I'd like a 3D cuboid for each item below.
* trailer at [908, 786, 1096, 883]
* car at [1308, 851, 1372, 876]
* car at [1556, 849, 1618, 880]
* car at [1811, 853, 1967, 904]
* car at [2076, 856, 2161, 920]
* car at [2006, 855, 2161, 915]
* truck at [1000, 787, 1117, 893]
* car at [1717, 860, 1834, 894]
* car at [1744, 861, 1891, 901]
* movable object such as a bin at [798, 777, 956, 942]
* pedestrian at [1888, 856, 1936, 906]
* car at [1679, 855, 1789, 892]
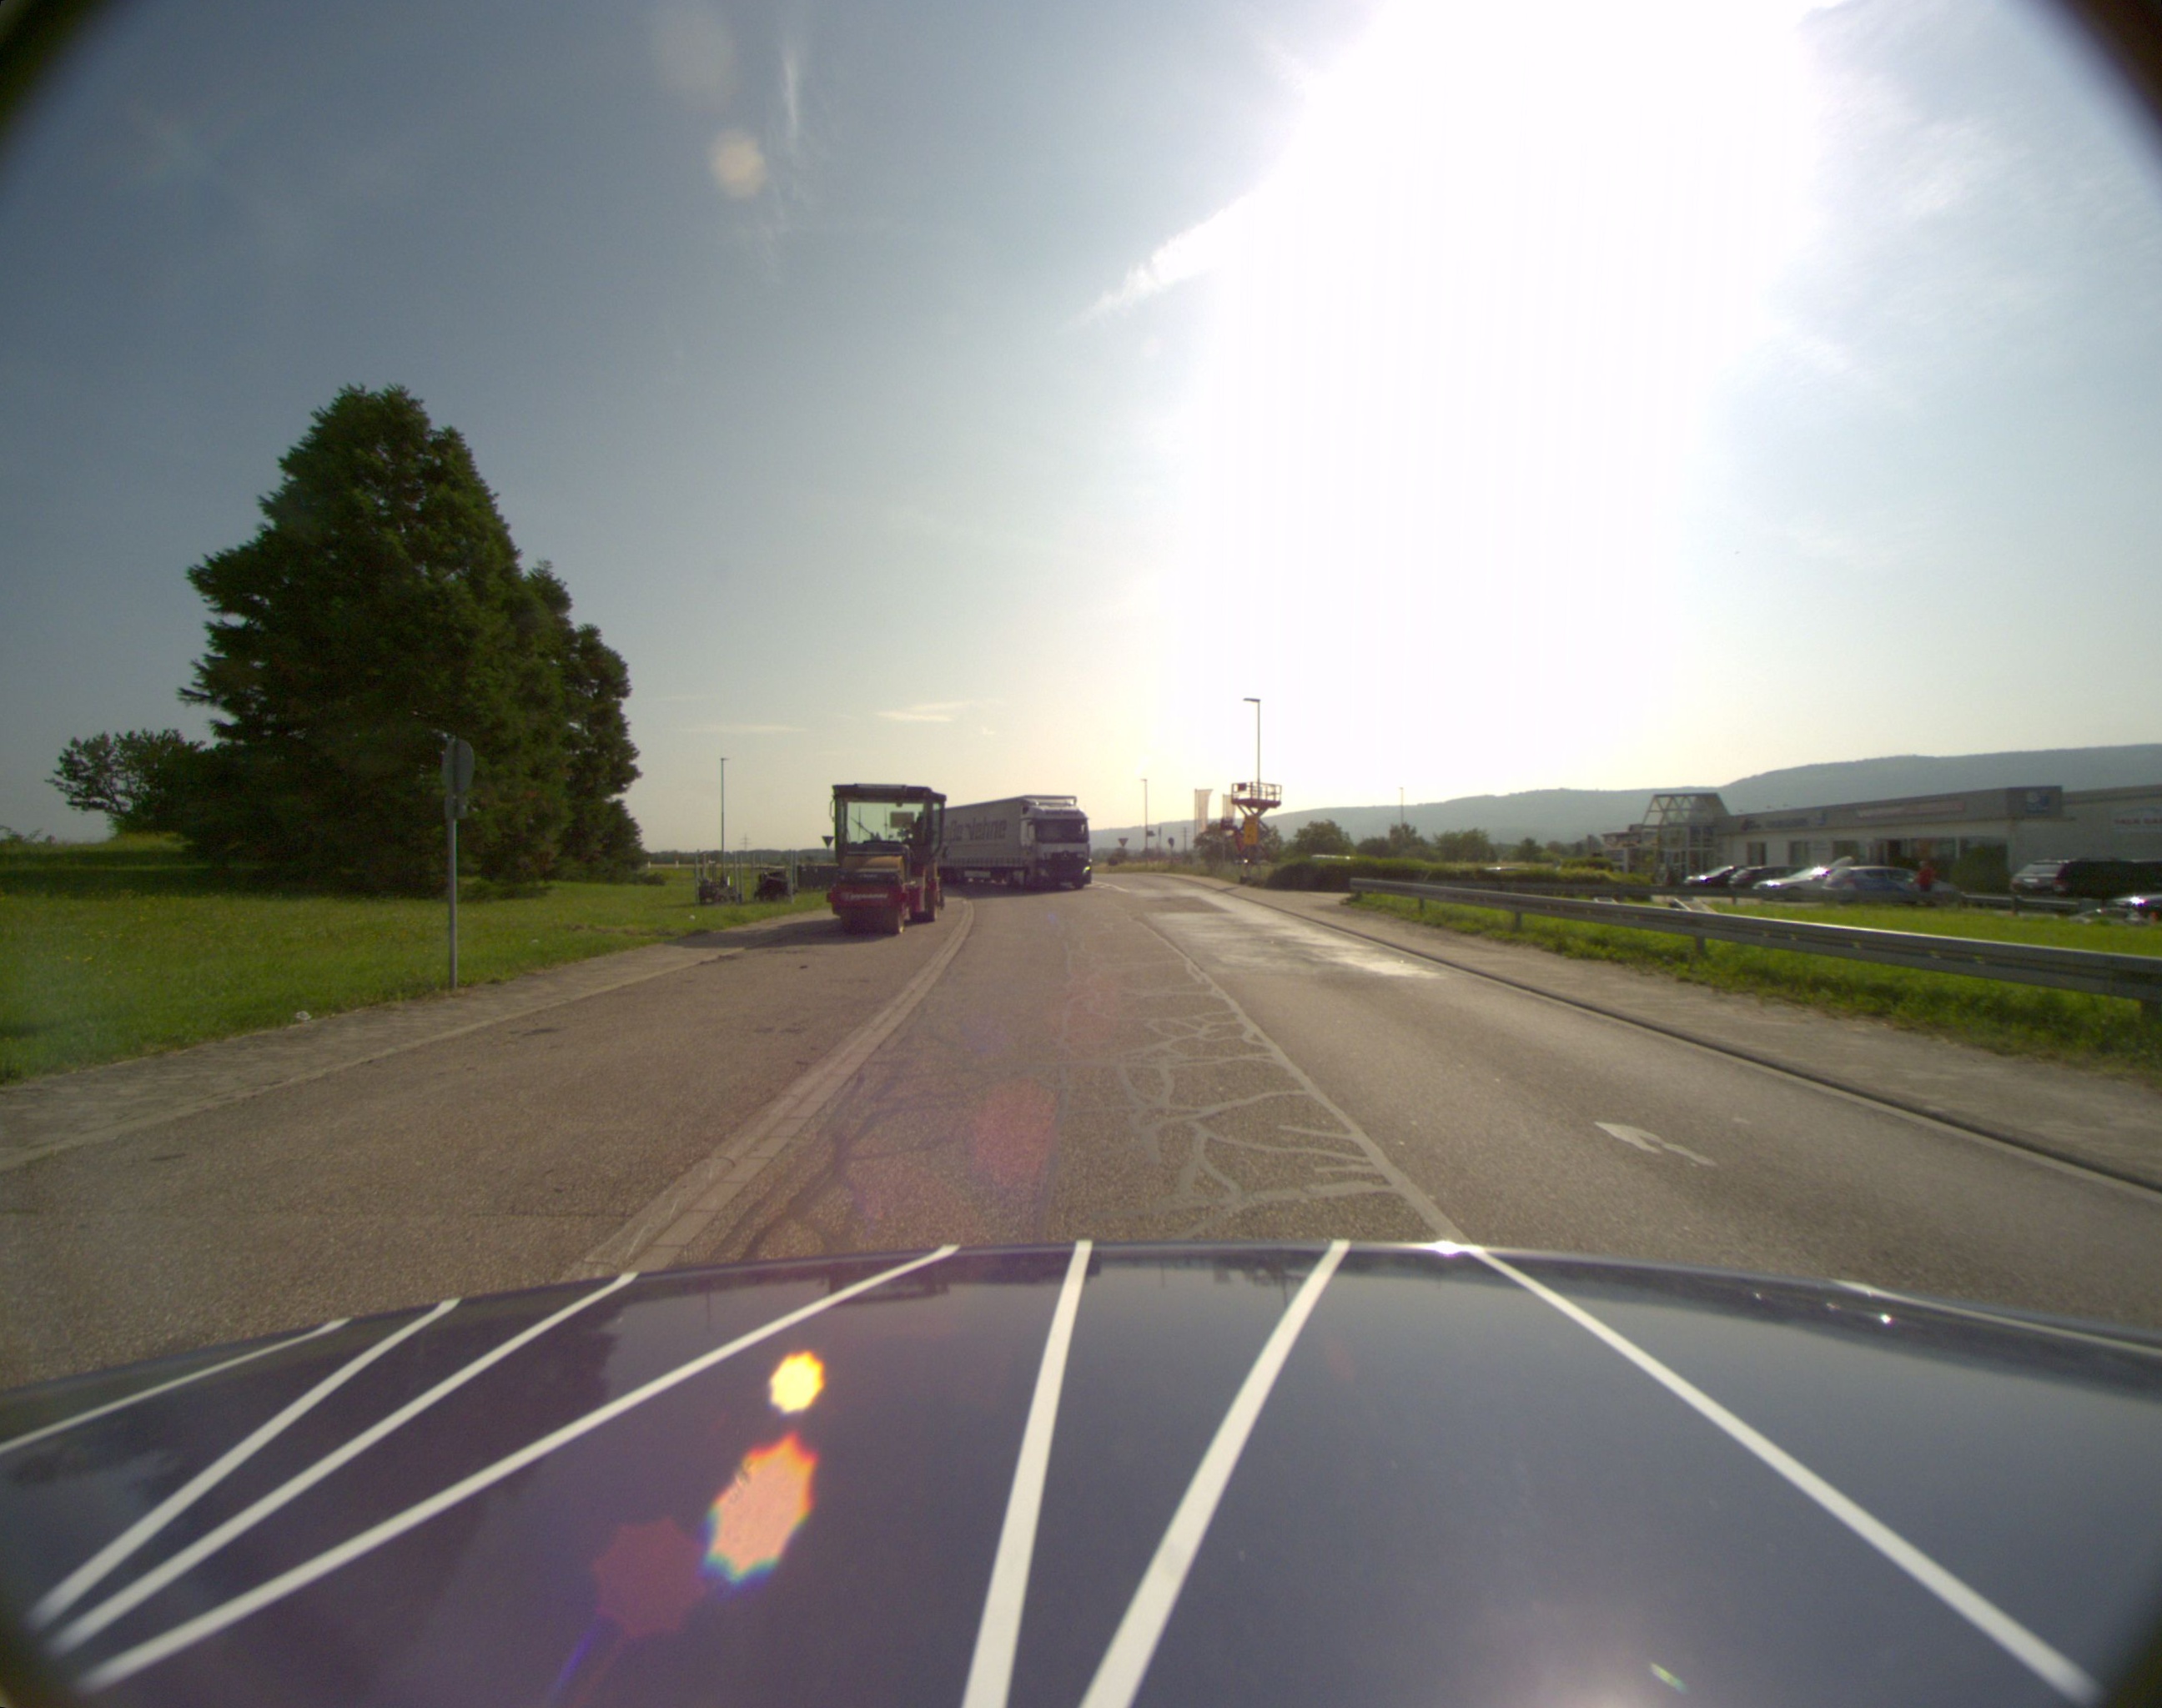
[{"bbox_3d":[-4.778,-0.863,39.896,3.505,4.183,14.198,-3,1,-33],"label":"trailer"},{"bbox_3d":[21.654,0.789,63.712,2.004,2.002,4.805,0,1,-33],"label":"car"},{"bbox_3d":[34.621,0.704,52.145,1.997,2.002,4.160,1,0,9],"label":"car"},{"bbox_3d":[31.613,0.930,29.857,3.767,1.785,1.934,-2,1,14],"label":"car"},{"bbox_3d":[27.369,0.831,18.280,3.993,1.512,1.686,1,1,13],"label":"car"},{"bbox_3d":[28.125,0.817,20.547,3.681,1.512,1.686,1,1,13],"label":"car"},{"bbox_3d":[-1.175,-0.613,33.931,3.400,4.183,6.088,-3,1,-19],"label":"truck"},{"bbox_3d":[32.651,1.052,35.827,3.659,1.455,1.766,1,1,16],"label":"car"},{"bbox_3d":[31.574,1.127,32.722,4.149,1.527,1.885,1,1,13],"label":"car"},{"bbox_3d":[-4.187,0.099,16.729,2.435,2.994,5.750,1,0,-6],"label":"movable object such as a bin"},{"bbox_3d":[30.015,0.957,27.443,0.841,1.744,0.991,-3,2,-29],"label":"pedestrian"},{"bbox_3d":[35.068,1.018,40.936,4.087,1.861,1.820,1,1,24],"label":"car"}]
